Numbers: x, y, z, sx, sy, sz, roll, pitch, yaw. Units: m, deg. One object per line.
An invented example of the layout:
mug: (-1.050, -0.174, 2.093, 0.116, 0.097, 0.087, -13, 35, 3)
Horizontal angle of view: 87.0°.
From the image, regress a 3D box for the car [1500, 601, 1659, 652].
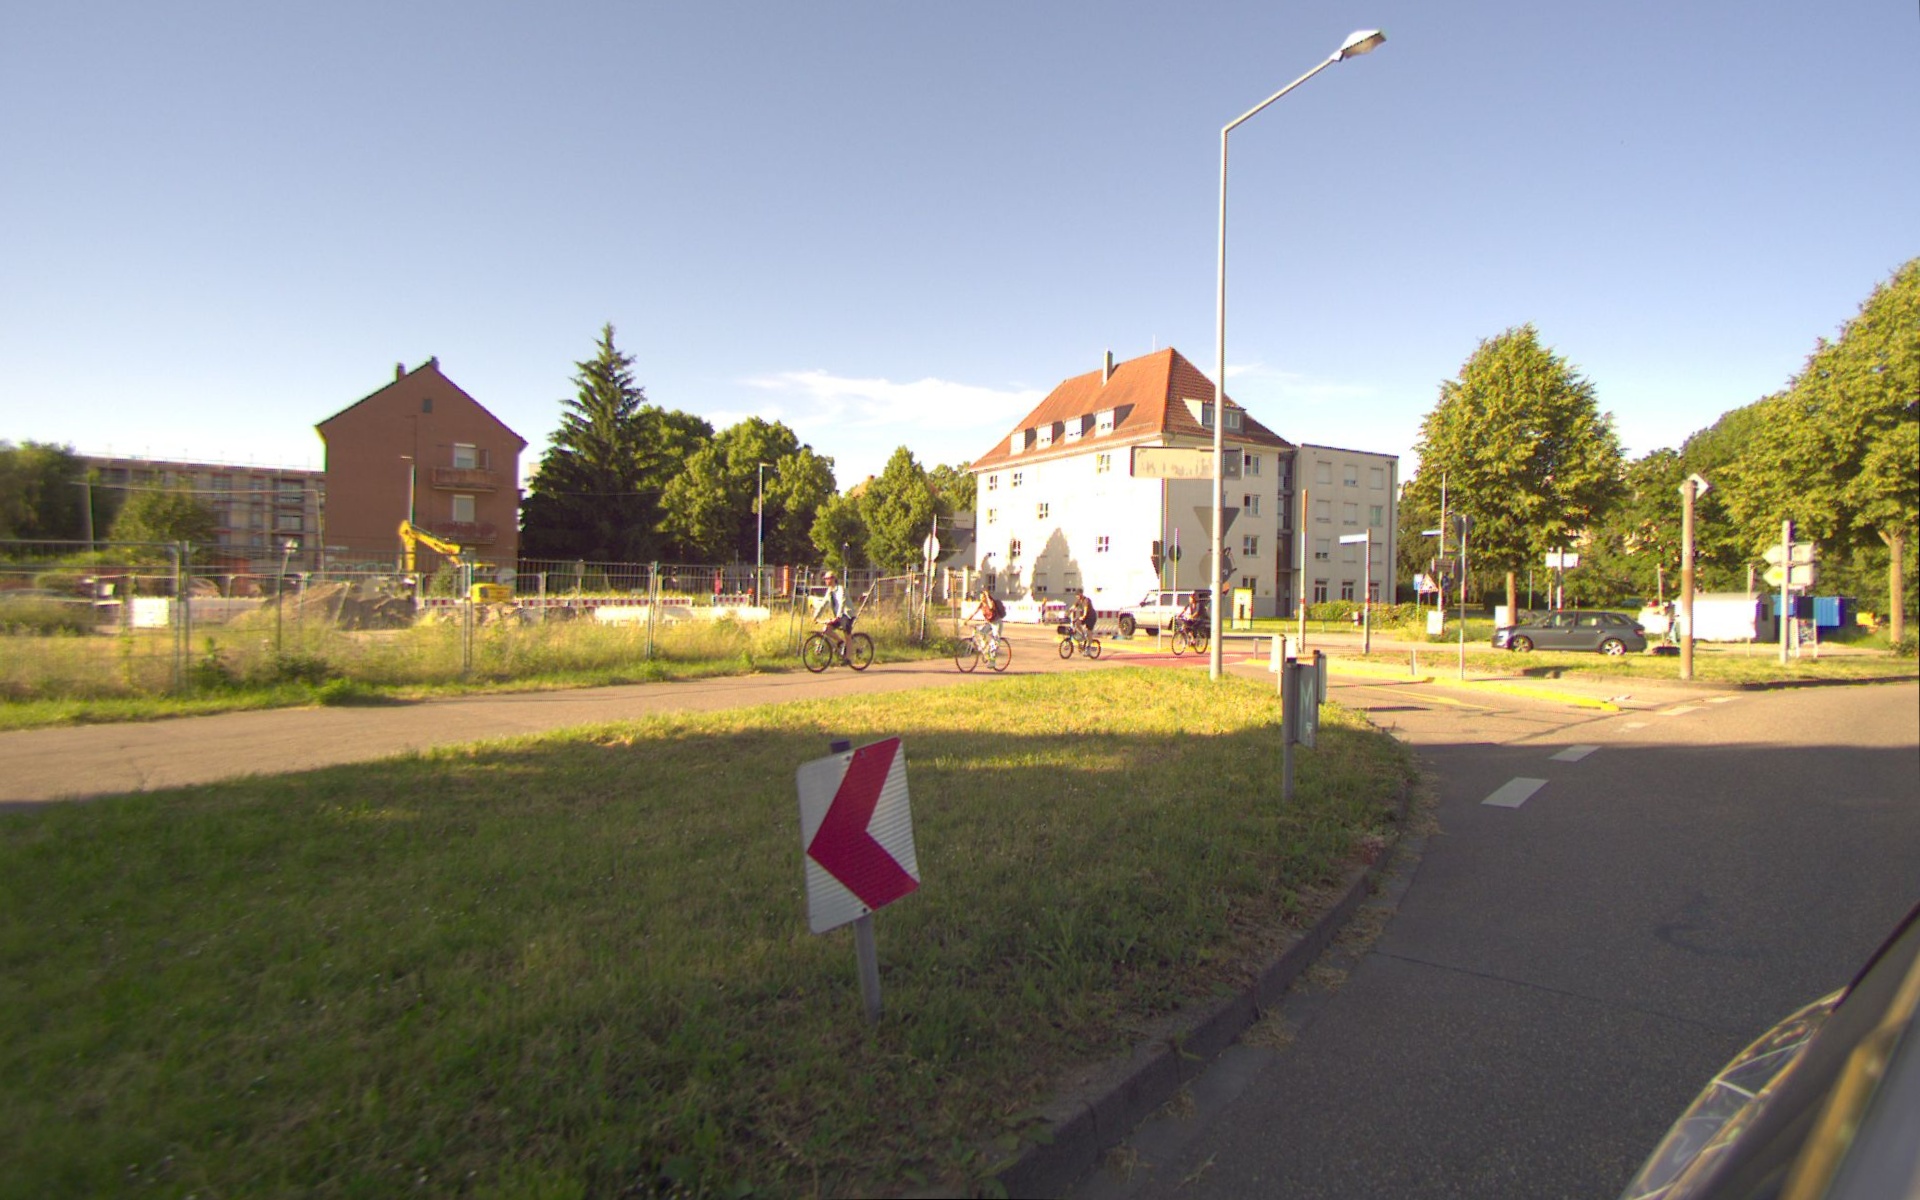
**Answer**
car: (19.129, 0.780, 31.468, 4.113, 1.454, 1.702, 0, -1, 28)

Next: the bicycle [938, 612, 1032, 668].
bicycle: (0.506, 0.765, 19.955, 1.788, 1.040, 0.660, 0, 0, -33)

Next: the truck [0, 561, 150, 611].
truck: (-39.703, -0.602, 44.366, 6.305, 2.040, 2.173, 1, -2, -6)

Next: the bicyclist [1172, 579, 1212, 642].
bicyclist: (6.336, 0.291, 27.662, 0.883, 1.687, 0.659, 2, -3, -41)

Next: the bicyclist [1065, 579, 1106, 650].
bicyclist: (3.149, 0.358, 25.427, 0.798, 1.752, 0.654, 1, -1, -40)

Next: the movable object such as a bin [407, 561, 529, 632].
movable object such as a bin: (-20.463, -0.125, 42.157, 3.944, 2.809, 2.414, 0, -2, 16)

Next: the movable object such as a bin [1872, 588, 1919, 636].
movable object such as a bin: (58.313, 0.750, 60.800, 1.964, 2.825, 5.040, 3, -2, -40)

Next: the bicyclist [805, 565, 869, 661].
bicyclist: (-2.276, 0.233, 18.756, 0.740, 1.701, 0.841, 4, 1, 43)

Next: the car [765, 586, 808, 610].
car: (-12.841, -0.137, 74.653, 1.959, 1.722, 4.005, 1, 0, -28)

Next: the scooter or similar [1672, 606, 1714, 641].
scooter or similar: (26.853, 0.867, 37.082, 1.239, 1.264, 0.445, 0, -2, -7)

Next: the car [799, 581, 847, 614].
car: (-8.344, -0.137, 61.254, 1.958, 1.923, 4.008, 1, 0, -21)

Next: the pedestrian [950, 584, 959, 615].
pedestrian: (-0.374, -0.046, 68.597, 0.462, 2.039, 0.456, 1, 0, -20)

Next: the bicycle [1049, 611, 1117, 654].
bicycle: (3.090, 0.813, 25.378, 1.791, 1.041, 0.659, 2, -2, -41)

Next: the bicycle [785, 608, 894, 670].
bicycle: (-2.222, 0.709, 18.851, 0.740, 1.040, 1.979, 4, 1, 43)

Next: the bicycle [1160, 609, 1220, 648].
bicycle: (6.294, 0.783, 27.621, 1.791, 1.041, 0.659, 2, -2, -41)

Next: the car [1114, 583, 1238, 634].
car: (8.679, 0.330, 41.038, 1.968, 1.921, 4.746, 1, -1, -40)

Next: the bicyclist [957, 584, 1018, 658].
bicyclist: (0.539, 0.408, 19.956, 0.917, 1.402, 0.661, 2, 1, -33)
